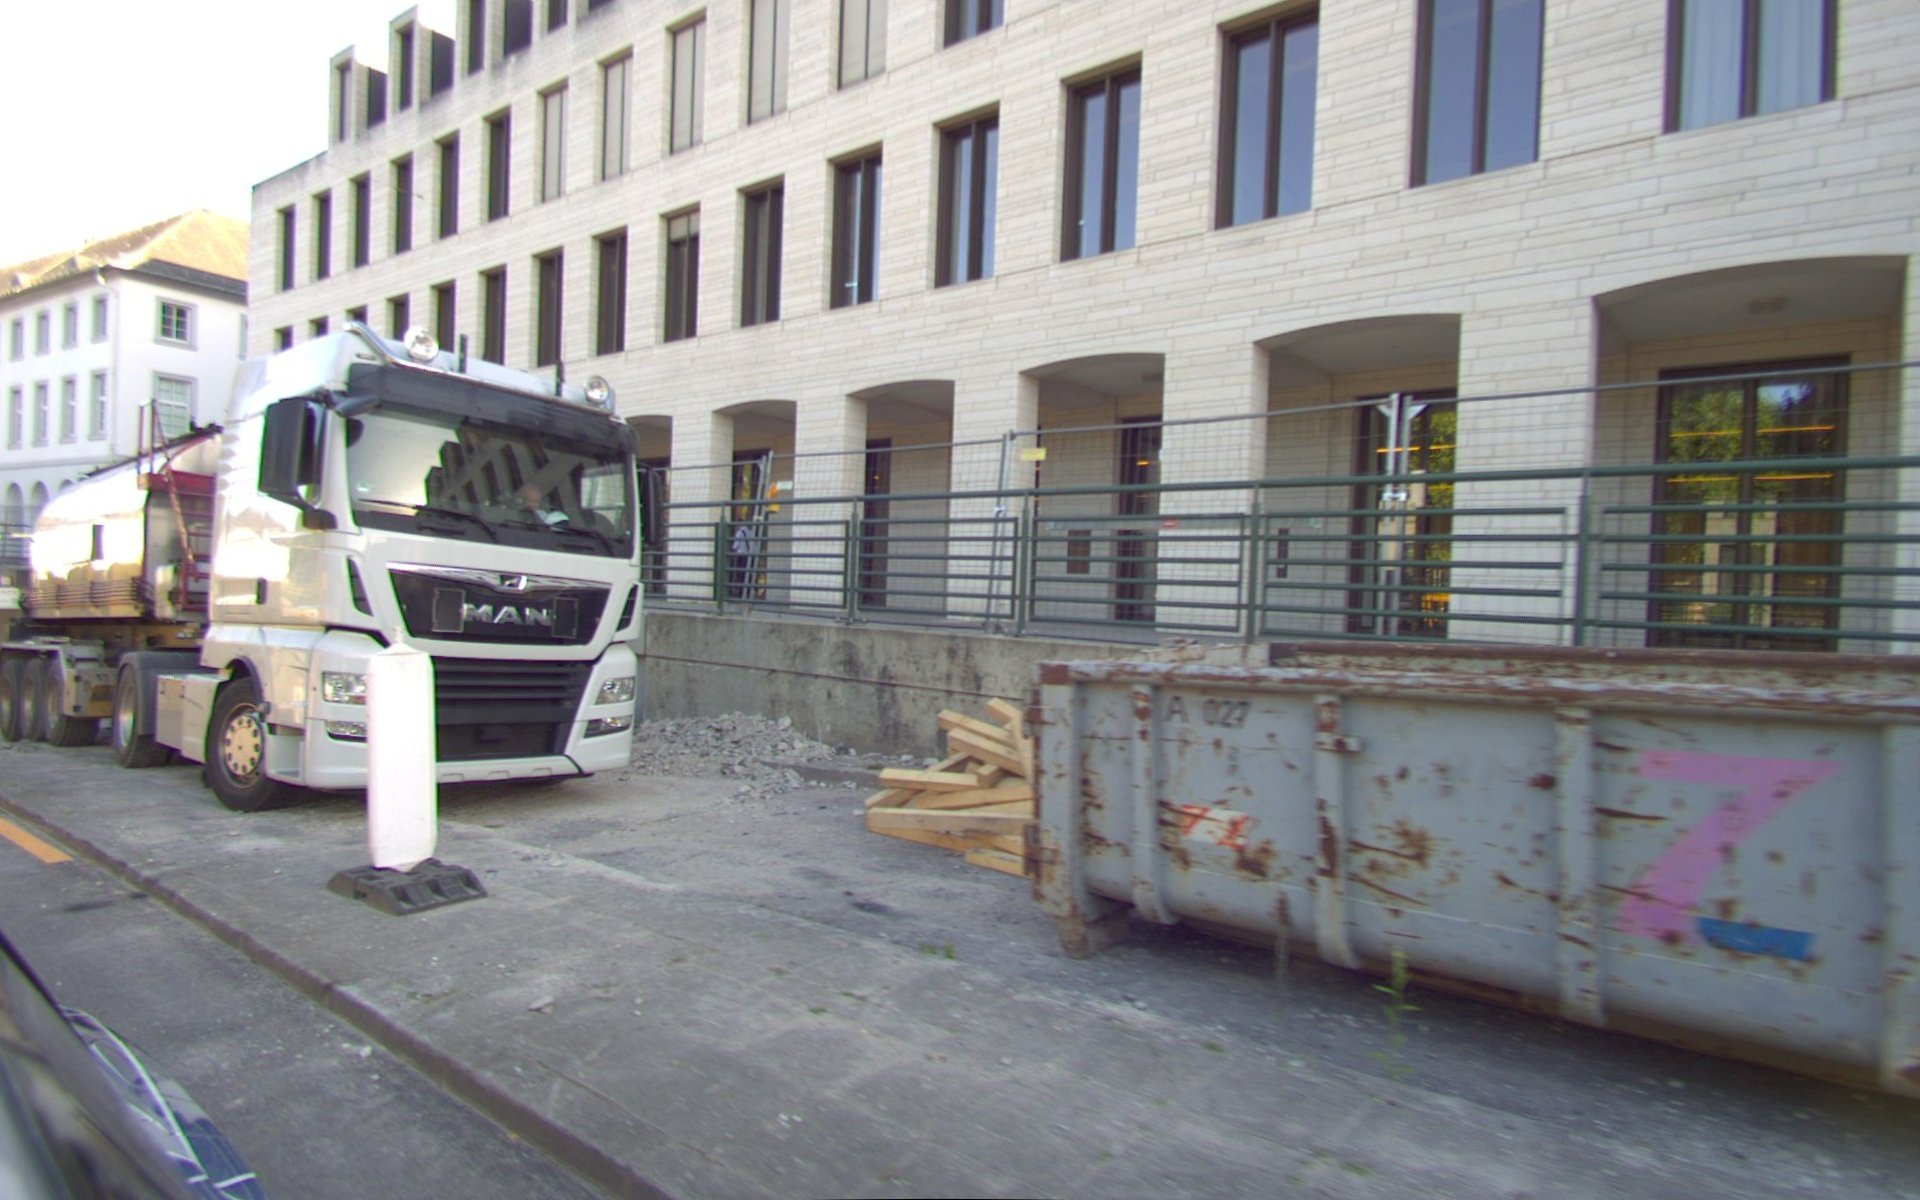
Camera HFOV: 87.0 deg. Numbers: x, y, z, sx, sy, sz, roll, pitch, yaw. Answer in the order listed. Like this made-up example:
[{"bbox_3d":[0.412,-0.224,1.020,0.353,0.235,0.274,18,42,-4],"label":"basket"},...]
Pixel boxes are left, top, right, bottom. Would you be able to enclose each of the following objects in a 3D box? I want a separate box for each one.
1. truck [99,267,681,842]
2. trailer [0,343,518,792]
[{"bbox_3d":[-5.327,-0.156,9.036,5.812,3.516,2.552,-2,-5,41],"label":"truck"},{"bbox_3d":[-8.880,-0.117,12.021,8.735,3.697,2.617,-1,-5,38],"label":"trailer"}]
